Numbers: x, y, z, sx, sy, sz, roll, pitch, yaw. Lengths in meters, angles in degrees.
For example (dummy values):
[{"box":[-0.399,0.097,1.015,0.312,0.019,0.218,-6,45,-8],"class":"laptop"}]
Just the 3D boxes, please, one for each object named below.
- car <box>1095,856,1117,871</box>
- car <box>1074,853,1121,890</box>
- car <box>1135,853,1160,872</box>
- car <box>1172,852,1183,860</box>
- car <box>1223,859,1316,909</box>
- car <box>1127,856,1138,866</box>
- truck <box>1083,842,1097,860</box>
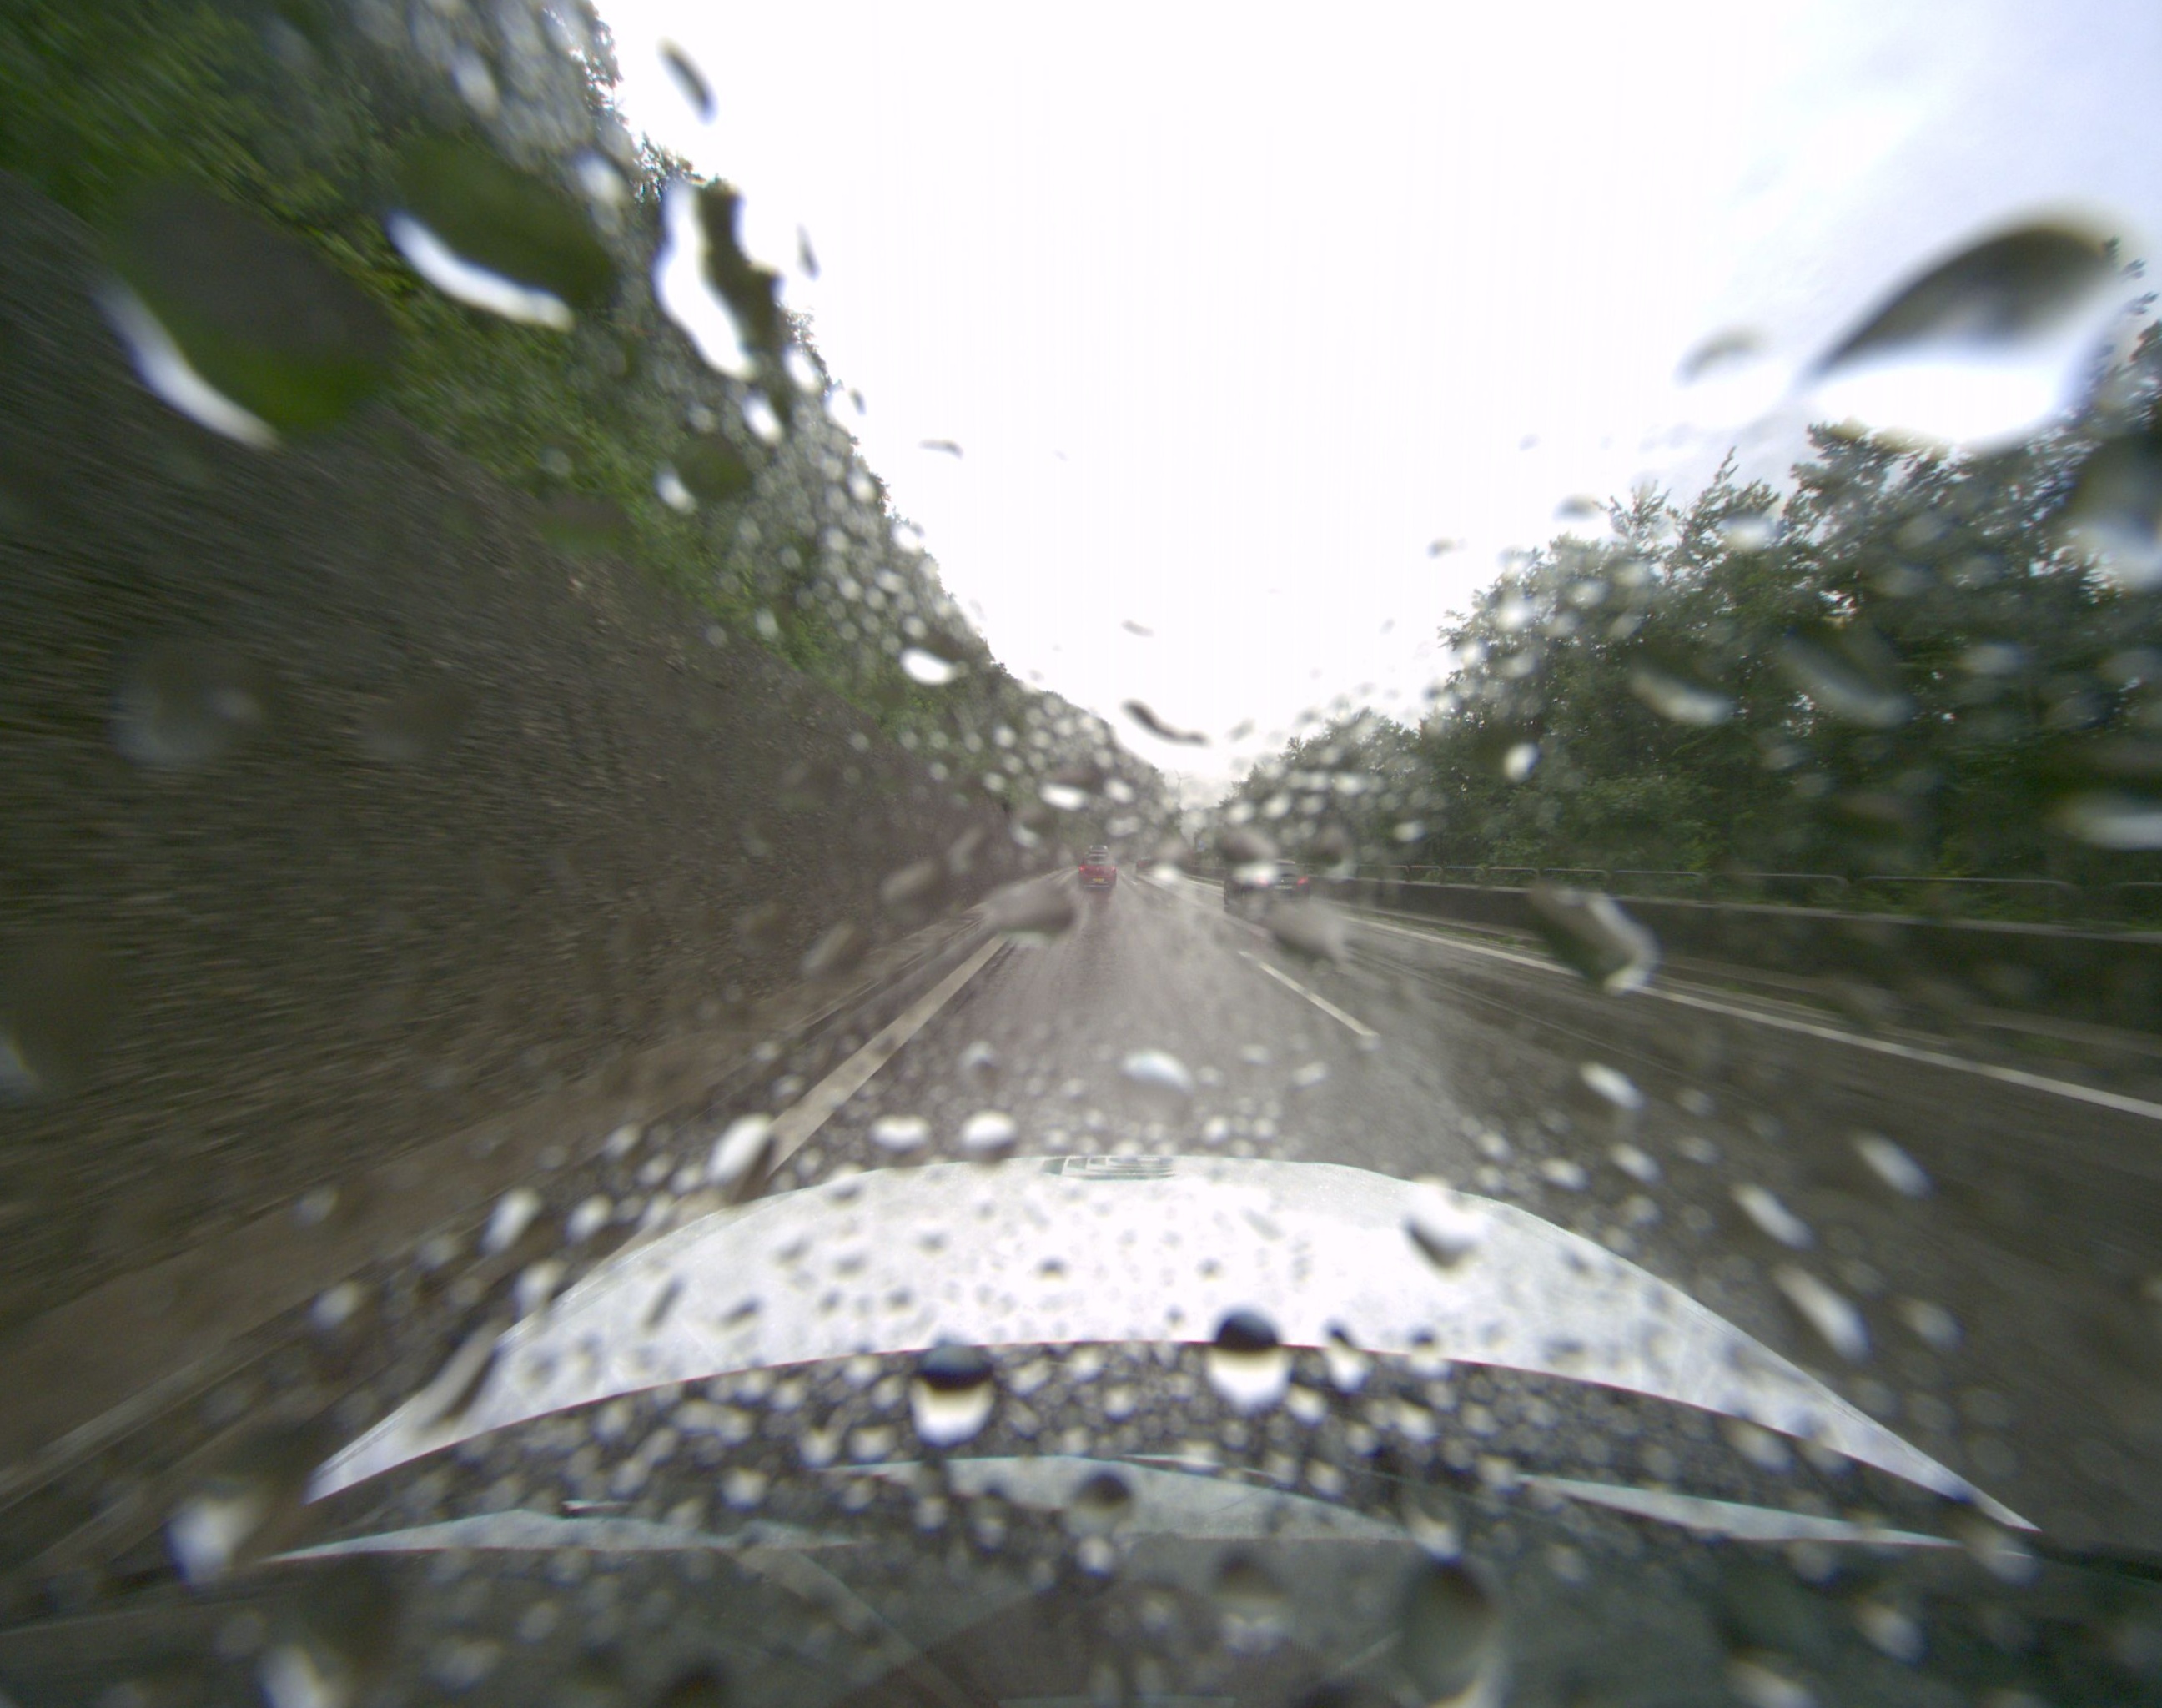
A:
[{"box":[2.279,0.852,74.468,1.986,1.354,4.001,1,0,1],"class":"car"},{"box":[0.746,0.817,37.980,1.987,1.552,4.000,-2,-1,0],"class":"car"},{"box":[5.940,0.743,72.979,1.986,1.552,4.002,-2,0,2],"class":"car"},{"box":[24.651,0.580,207.214,2.433,2.014,4.751,-1,0,11],"class":"car"},{"box":[5.346,0.802,23.577,1.794,1.307,4.000,0,0,0],"class":"car"},{"box":[10.035,1.358,159.552,1.986,1.749,4.002,-2,0,2],"class":"car"},{"box":[1.411,-0.437,122.974,1.986,2.751,5.587,-1,0,1],"class":"truck"}]
